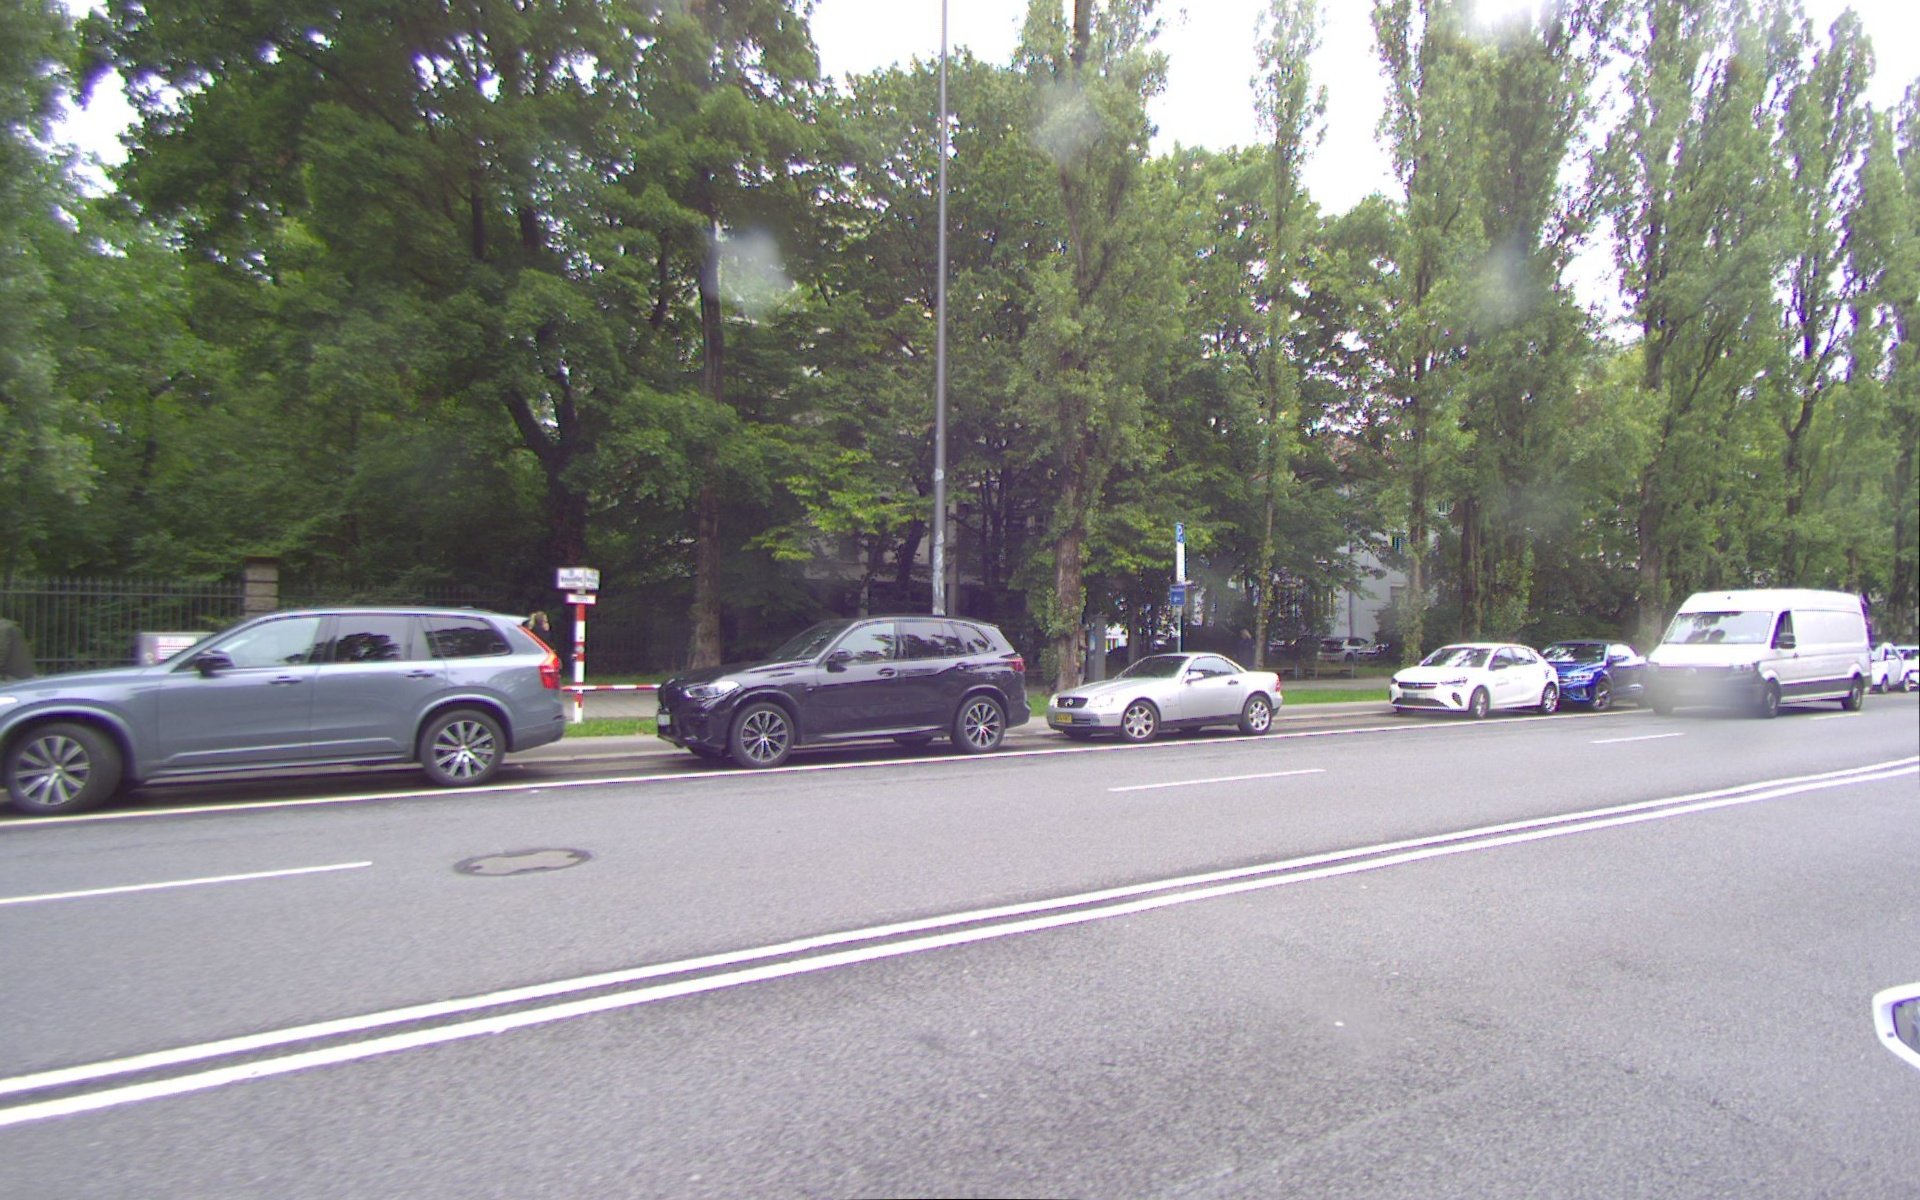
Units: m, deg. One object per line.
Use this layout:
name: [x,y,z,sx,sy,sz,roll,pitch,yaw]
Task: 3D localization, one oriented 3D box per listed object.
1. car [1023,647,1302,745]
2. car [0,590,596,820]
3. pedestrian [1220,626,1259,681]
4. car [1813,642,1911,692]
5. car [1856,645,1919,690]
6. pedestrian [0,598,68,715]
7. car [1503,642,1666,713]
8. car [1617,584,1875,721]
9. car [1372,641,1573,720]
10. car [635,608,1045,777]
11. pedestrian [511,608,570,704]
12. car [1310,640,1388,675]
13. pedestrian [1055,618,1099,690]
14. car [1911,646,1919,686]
car: [3.211,1.430,15.735,4.186,1.351,1.817,1,-4,-32]
car: [-6.418,0.938,9.809,5.121,1.812,1.900,2,-4,-32]
pedestrian: [8.555,1.630,30.714,0.871,1.620,0.733,2,0,-30]
car: [27.896,2.055,31.059,2.932,1.466,1.421,1,-5,-32]
car: [31.456,2.202,33.321,4.124,1.407,1.614,2,-4,-35]
pedestrian: [-14.576,0.864,15.553,0.946,1.764,0.827,1,-2,-30]
car: [13.983,1.698,22.475,3.547,1.470,1.700,2,-4,-33]
car: [16.797,1.101,21.322,6.685,2.515,2.216,2,-3,-33]
car: [10.485,1.591,20.478,4.187,1.471,1.761,2,-4,-33]
car: [-1.428,1.094,12.771,4.842,1.790,1.931,2,-4,-33]
pedestrian: [-7.979,1.051,19.102,0.946,1.764,0.663,1,-2,-30]
car: [21.344,3.110,55.047,3.953,1.795,1.984,1,-1,-30]
pedestrian: [2.797,1.273,24.011,0.742,1.686,0.735,1,-2,-30]
car: [36.090,2.355,36.276,4.123,1.407,1.614,2,-4,-34]
